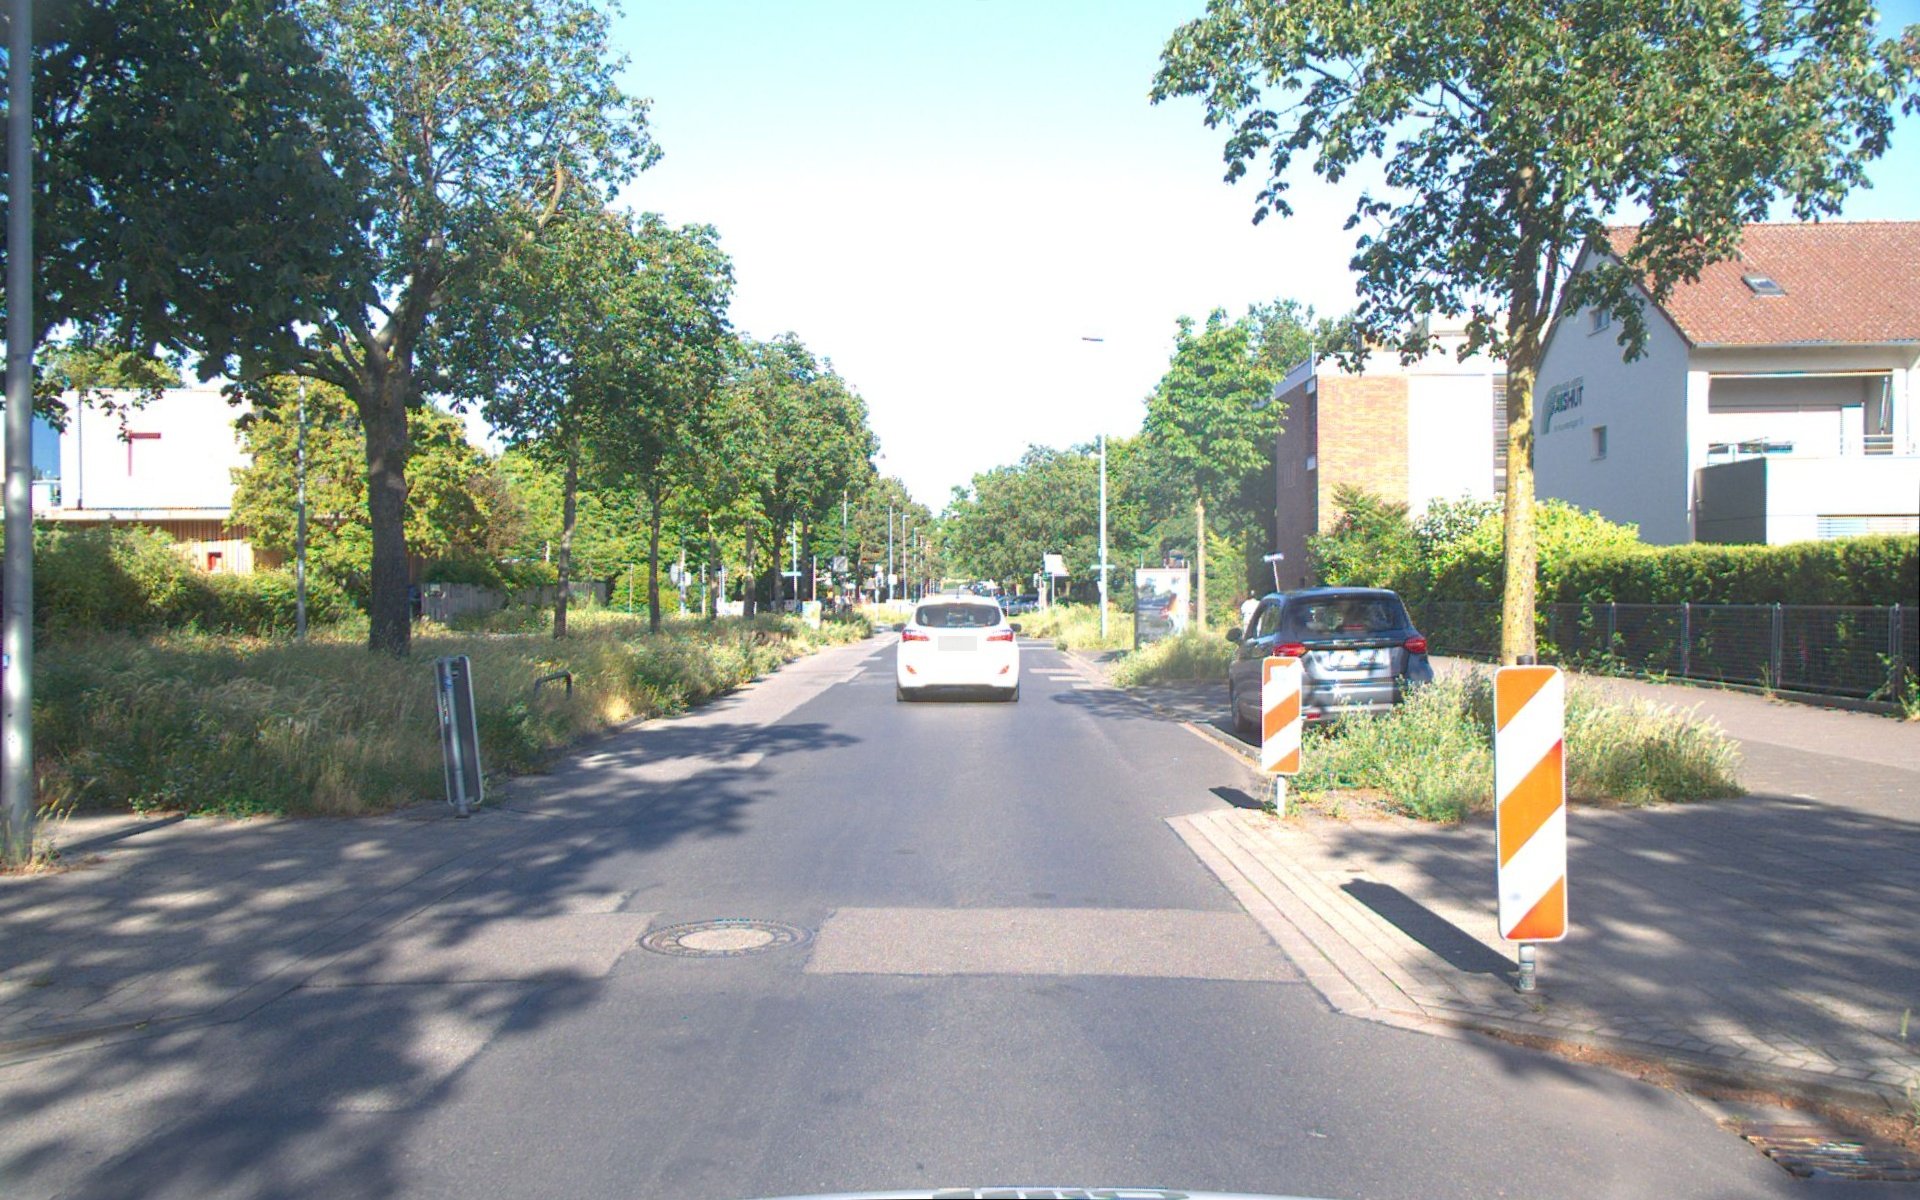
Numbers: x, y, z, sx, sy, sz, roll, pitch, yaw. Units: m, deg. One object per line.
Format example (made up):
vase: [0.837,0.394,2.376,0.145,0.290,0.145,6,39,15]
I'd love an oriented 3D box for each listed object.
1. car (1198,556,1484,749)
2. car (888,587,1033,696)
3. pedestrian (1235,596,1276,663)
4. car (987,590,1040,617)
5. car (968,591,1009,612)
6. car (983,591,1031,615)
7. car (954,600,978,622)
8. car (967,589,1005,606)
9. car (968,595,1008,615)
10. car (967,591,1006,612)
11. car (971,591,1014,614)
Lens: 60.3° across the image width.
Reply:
car: [3.908,0.515,17.693,1.954,1.758,3.998,-2,-1,-2]
car: [-0.081,0.543,24.708,1.954,1.480,4.222,0,0,-3]
pedestrian: [9.033,0.899,50.656,1.090,2.049,0.921,0,0,0]
car: [4.064,0.242,126.069,3.906,2.049,2.000,0,0,-1]
car: [2.796,0.172,162.730,3.906,2.049,2.000,0,0,-1]
car: [3.907,0.234,138.174,3.906,2.049,2.000,0,0,-1]
car: [0.452,0.843,126.140,1.779,1.534,3.658,3,0,0]
car: [2.783,-0.267,178.182,3.907,1.780,1.999,0,0,-3]
car: [2.810,0.508,165.298,3.906,2.049,2.000,0,0,-1]
car: [2.707,0.157,168.020,3.906,2.049,2.000,0,0,-1]
car: [3.014,0.228,154.695,3.906,2.049,2.000,0,0,-1]
